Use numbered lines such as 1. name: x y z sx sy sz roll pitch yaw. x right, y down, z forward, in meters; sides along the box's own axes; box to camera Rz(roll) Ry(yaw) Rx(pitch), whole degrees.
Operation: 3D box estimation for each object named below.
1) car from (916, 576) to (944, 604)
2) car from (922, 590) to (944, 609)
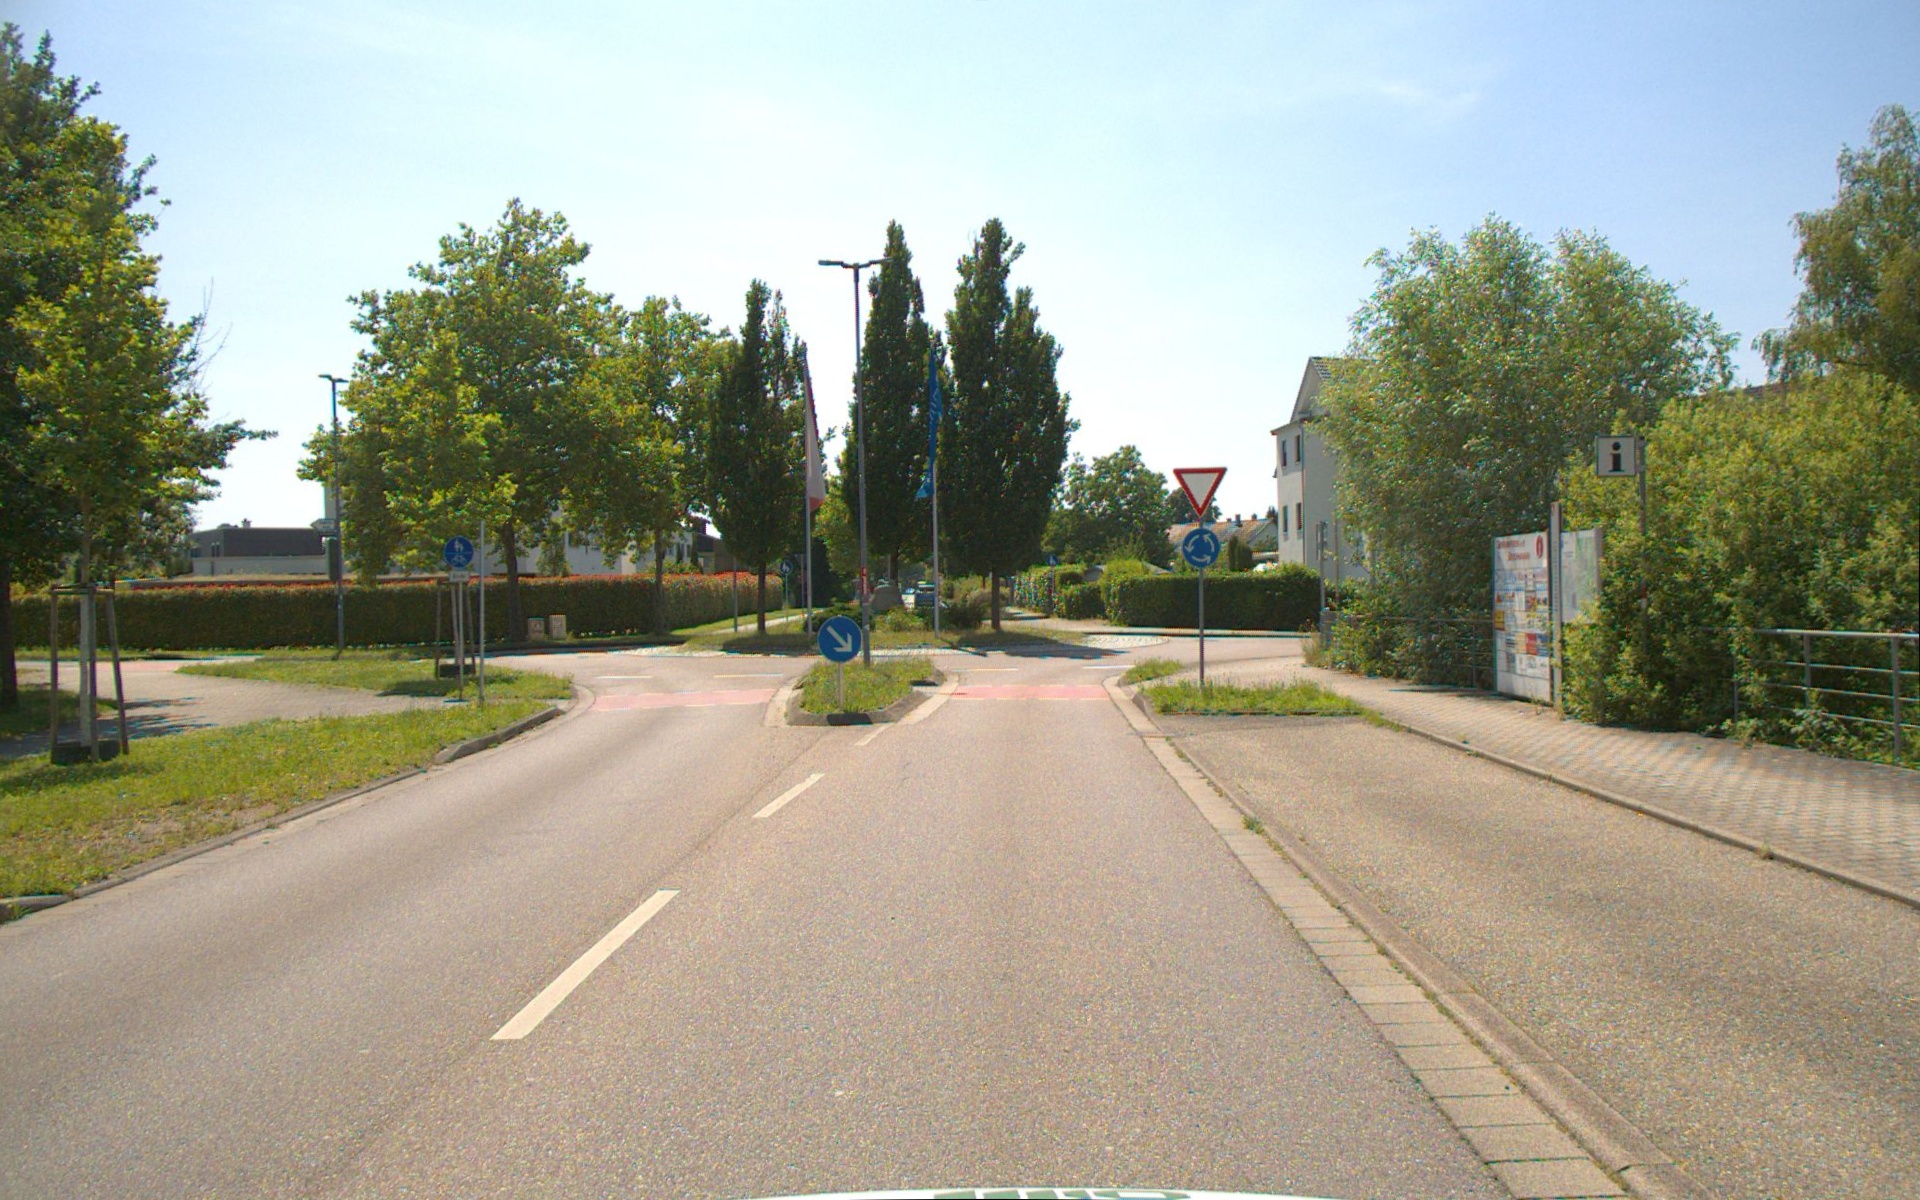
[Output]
1. car: -2.120 -0.690 114.132 1.884 1.919 3.999 0 0 -2
2. car: -2.570 -0.071 158.335 1.952 1.801 4.001 0 0 2
